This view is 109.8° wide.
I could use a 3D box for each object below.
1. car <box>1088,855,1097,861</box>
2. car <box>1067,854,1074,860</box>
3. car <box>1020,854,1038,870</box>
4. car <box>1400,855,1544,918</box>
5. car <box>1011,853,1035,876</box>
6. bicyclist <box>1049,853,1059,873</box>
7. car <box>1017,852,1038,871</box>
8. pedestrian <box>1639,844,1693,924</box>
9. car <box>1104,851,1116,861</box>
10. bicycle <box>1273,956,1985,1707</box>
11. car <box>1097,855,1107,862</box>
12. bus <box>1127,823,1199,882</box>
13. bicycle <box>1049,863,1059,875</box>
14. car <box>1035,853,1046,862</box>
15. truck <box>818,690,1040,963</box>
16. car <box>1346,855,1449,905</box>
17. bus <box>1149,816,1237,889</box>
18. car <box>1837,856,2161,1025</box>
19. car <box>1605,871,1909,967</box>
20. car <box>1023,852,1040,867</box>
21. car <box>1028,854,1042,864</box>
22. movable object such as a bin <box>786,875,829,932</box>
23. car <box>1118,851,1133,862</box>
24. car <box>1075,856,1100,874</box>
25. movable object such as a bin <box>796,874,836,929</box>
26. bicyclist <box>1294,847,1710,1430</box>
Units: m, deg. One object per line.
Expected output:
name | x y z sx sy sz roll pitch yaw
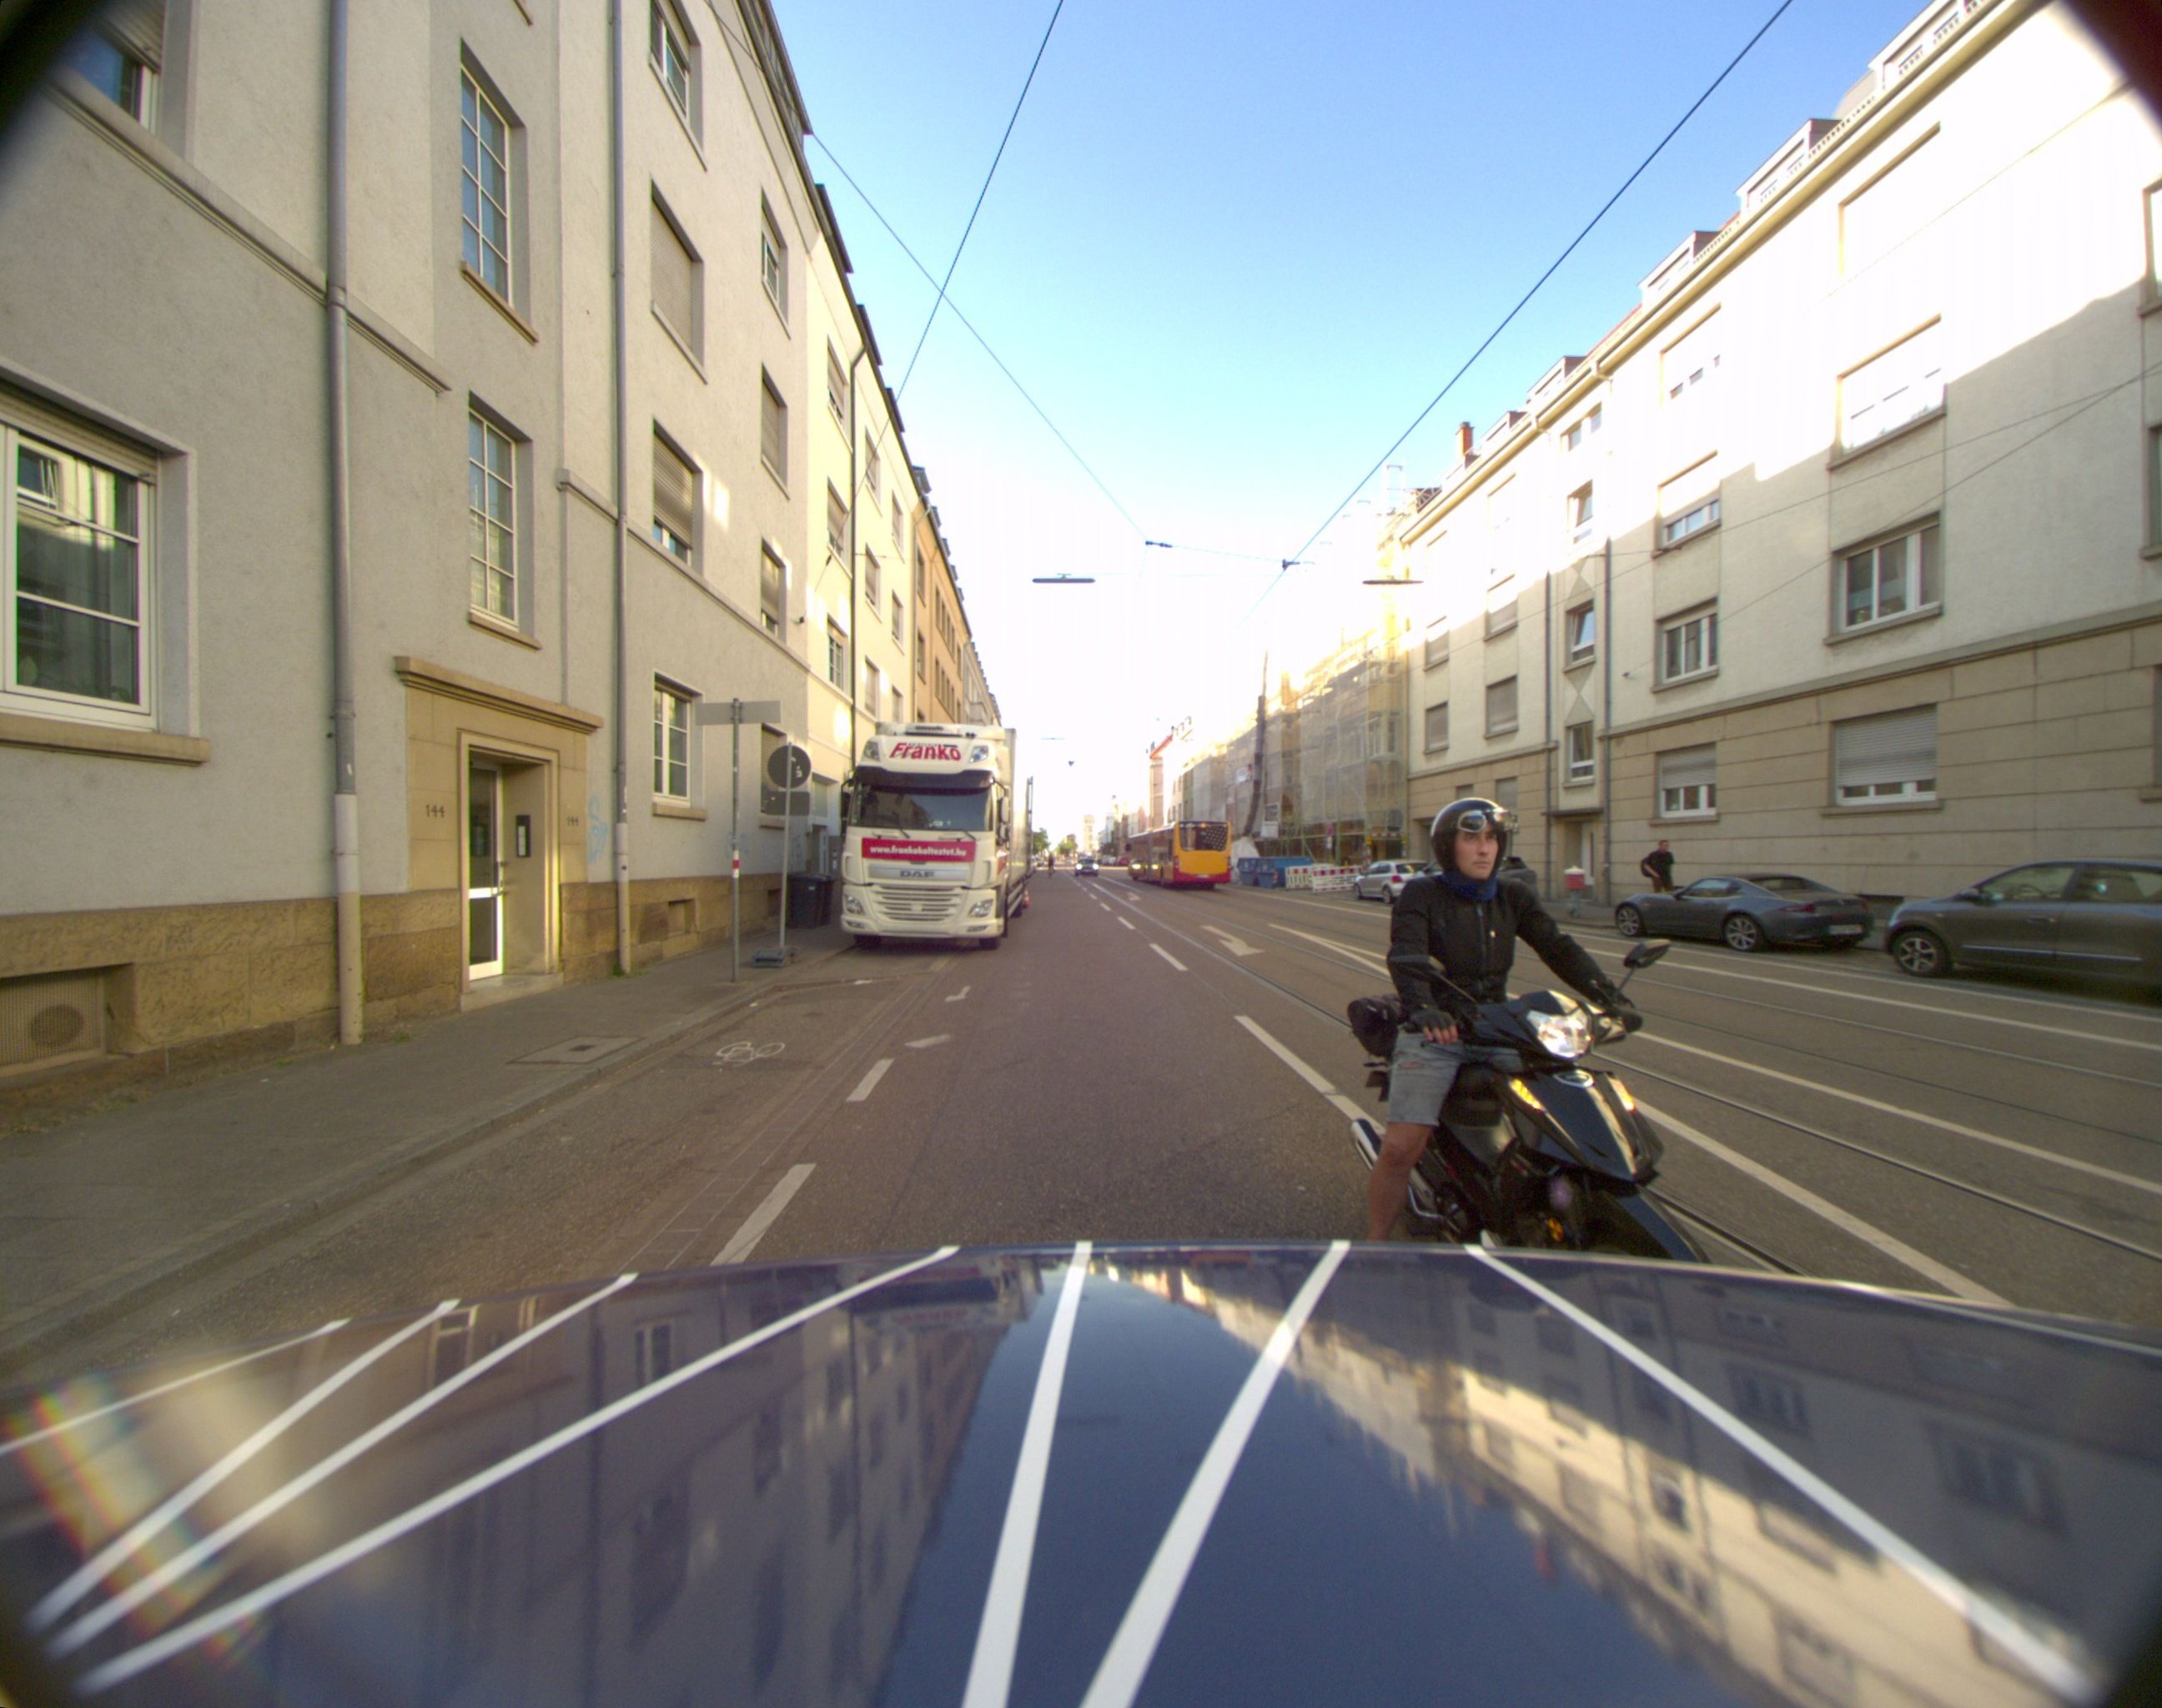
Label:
car | 2.849 1.069 191.715 1.799 1.494 3.768 -2 0 -3
car | -3.158 0.934 220.570 1.826 1.559 4.199 -2 0 -4
car | -5.251 0.796 77.266 1.703 1.496 3.862 0 0 -1
car | 10.831 0.825 21.441 1.704 1.558 4.405 0 0 -2
car | -4.514 0.788 59.422 1.713 1.683 4.588 1 0 -3
bicyclist | -1.972 0.638 56.028 0.744 1.481 0.816 0 1 -1
car | -5.017 0.673 71.603 1.703 1.688 4.187 1 0 0
pedestrian | 12.737 0.642 16.555 0.582 1.684 0.716 -2 1 -3
car | 5.611 0.424 149.158 1.999 2.002 3.999 1 0 -3
bicycle | 1.273 1.043 2.395 0.740 1.170 1.973 0 0 -3
car | 4.557 0.936 167.646 1.799 1.494 3.768 -2 0 -3
bus | 4.687 -0.092 45.460 2.730 3.140 10.192 0 0 -3
bicycle | -1.985 1.080 55.916 0.744 0.850 1.885 0 0 -1
car | -7.612 0.624 142.944 1.999 1.630 3.999 1 0 -2
truck | -2.576 -0.408 17.220 2.867 4.049 11.776 0 0 -1
car | 10.728 0.831 26.072 1.704 1.407 3.998 -3 1 -2
bus | 5.171 -0.058 36.547 2.745 3.143 7.575 0 0 -3
car | 11.427 0.863 8.592 1.704 1.560 3.998 -2 1 -2
car | 11.219 0.997 13.015 1.704 1.209 3.784 -2 1 -3
car | -5.315 0.611 82.384 1.703 1.581 3.960 0 0 -2
car | -6.802 0.690 112.967 1.999 1.412 3.726 1 0 -2
movable object such as a bin | -5.396 0.966 15.016 0.660 1.098 0.541 0 1 -5
car | 6.977 0.390 118.744 1.799 1.494 3.768 -2 0 -3
car | 0.523 0.817 59.603 1.859 1.369 4.000 0 0 1
movable object such as a bin | -5.431 0.961 15.607 0.660 1.098 0.541 0 1 -5
bicyclist | 1.245 0.753 2.449 0.844 1.545 0.849 0 1 -3
